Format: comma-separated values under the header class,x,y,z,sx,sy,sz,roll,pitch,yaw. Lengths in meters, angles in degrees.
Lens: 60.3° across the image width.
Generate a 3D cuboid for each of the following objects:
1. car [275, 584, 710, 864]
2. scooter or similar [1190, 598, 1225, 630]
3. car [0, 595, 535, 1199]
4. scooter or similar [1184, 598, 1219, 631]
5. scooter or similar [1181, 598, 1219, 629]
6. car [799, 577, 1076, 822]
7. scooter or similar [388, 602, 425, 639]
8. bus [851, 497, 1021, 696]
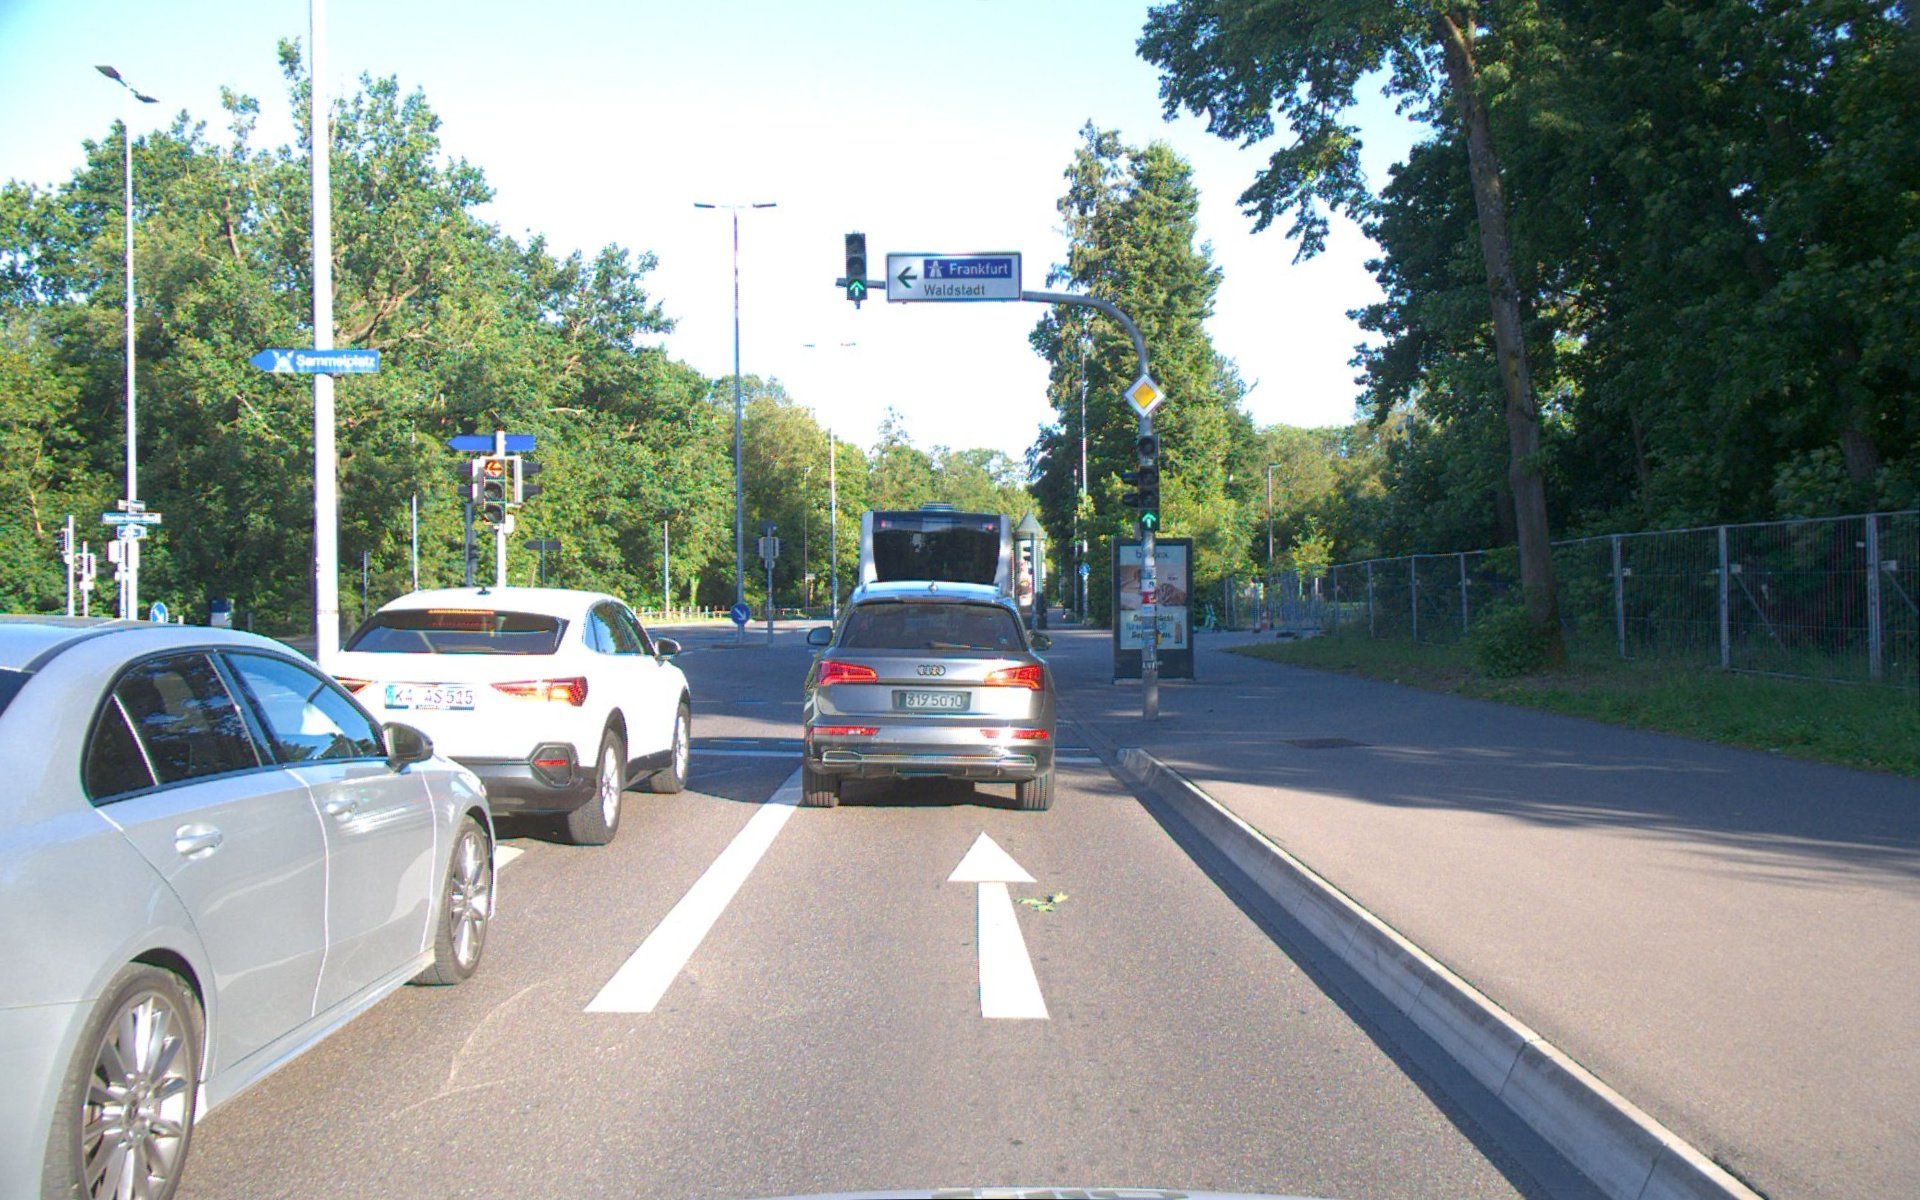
class,x,y,z,sx,sy,sz,roll,pitch,yaw
car,-2.908,0.682,11.296,1.796,1.539,4.299,0,0,-1
scooter or similar,9.313,0.537,62.317,1.219,1.187,0.394,-2,-1,25
car,-2.622,0.718,4.976,1.623,1.452,4.317,0,0,-1
scooter or similar,8.994,0.550,61.713,1.239,1.167,0.394,-2,-2,7
scooter or similar,9.477,0.553,65.255,1.411,1.187,0.393,-2,-2,29
car,-0.186,0.670,13.498,1.854,1.633,4.543,1,0,-1
scooter or similar,-17.798,0.657,53.199,1.044,1.166,0.394,0,1,7
bus,-0.468,-0.045,32.146,2.635,3.096,12.038,1,0,-1
